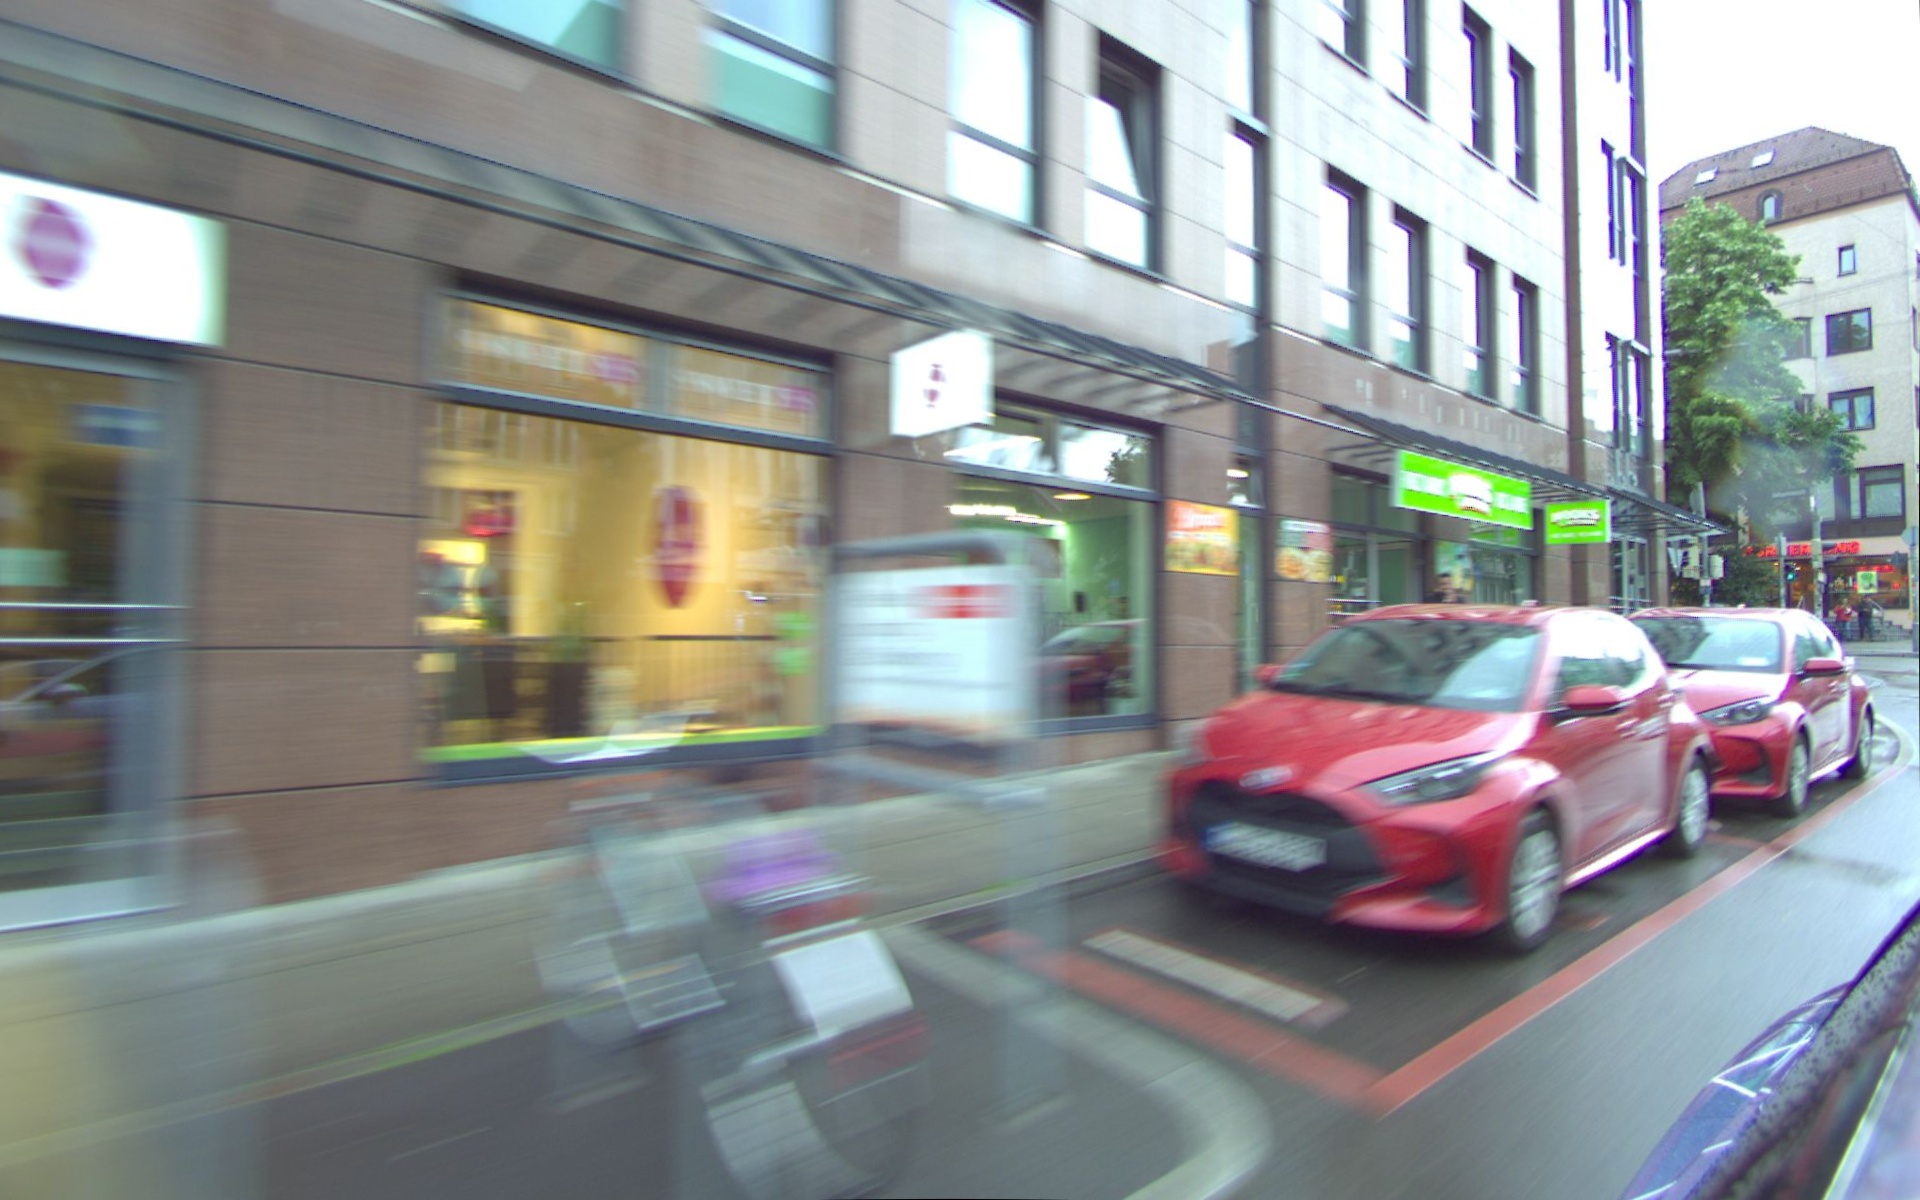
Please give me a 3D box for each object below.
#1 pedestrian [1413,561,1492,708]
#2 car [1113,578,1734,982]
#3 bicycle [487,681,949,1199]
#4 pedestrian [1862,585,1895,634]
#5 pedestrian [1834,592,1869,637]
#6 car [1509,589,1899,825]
[{"bbox_3d":[5.850,0.393,12.024,0.614,1.680,0.603,-1,-1,-39],"label":"pedestrian"},{"bbox_3d":[2.748,0.624,5.611,3.799,1.480,1.702,-1,1,-40],"label":"car"},{"bbox_3d":[-0.778,0.799,2.732,0.454,1.044,1.790,-1,0,-40],"label":"bicycle"},{"bbox_3d":[34.564,0.358,38.084,0.585,1.843,0.667,-1,-1,1],"label":"pedestrian"},{"bbox_3d":[33.238,0.529,37.728,0.614,1.670,0.725,-1,-1,1],"label":"pedestrian"},{"bbox_3d":[6.321,0.682,8.468,3.797,1.498,1.703,-1,1,-38],"label":"car"}]
